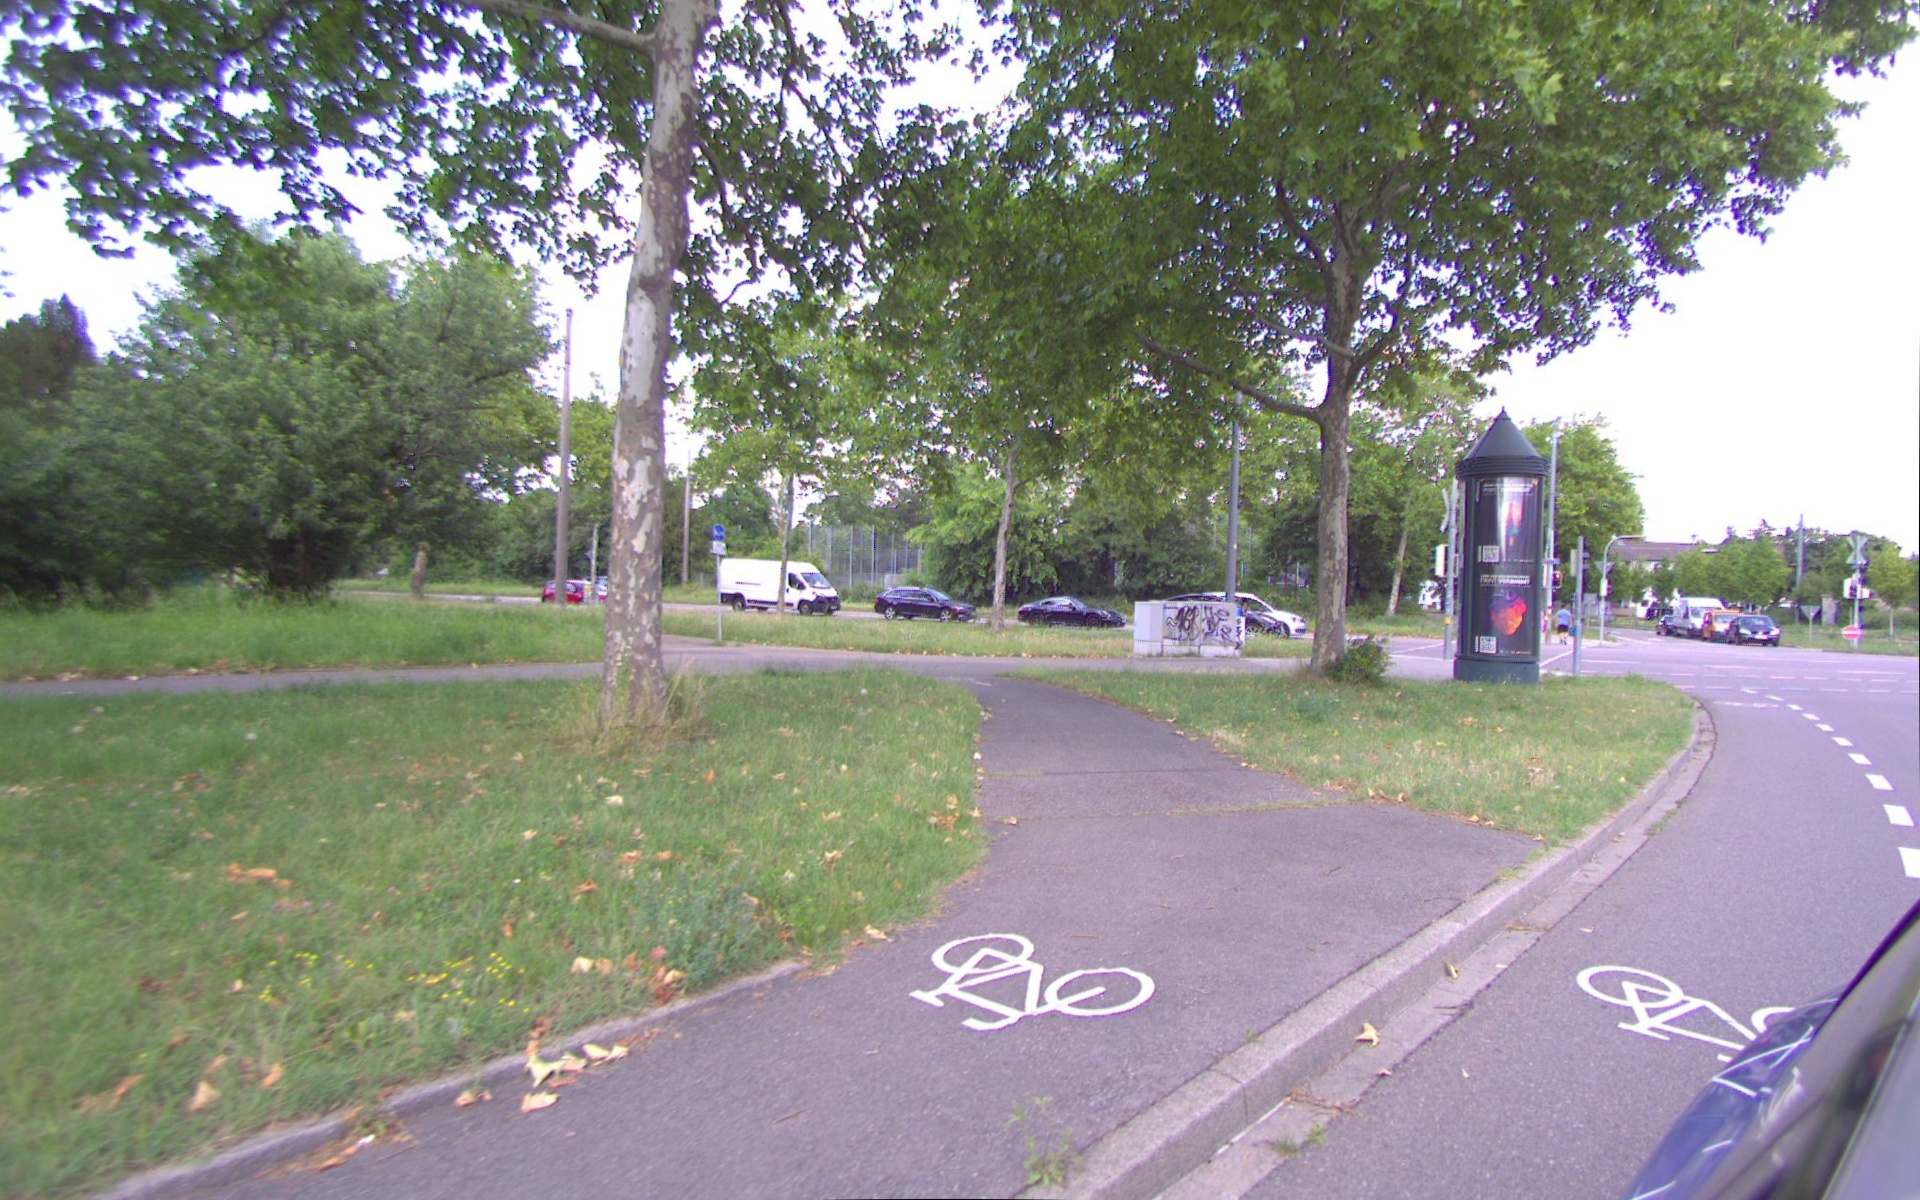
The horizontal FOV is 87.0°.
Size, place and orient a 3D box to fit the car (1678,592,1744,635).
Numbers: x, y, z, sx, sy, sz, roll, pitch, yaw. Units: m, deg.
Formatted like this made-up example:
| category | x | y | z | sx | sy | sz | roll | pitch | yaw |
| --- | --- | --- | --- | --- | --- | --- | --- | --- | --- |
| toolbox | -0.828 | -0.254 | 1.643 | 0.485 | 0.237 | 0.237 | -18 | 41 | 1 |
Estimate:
| category | x | y | z | sx | sy | sz | roll | pitch | yaw |
| --- | --- | --- | --- | --- | --- | --- | --- | --- | --- |
| car | 47.093 | 0.810 | 63.576 | 2.218 | 2.538 | 5.674 | 1 | 0 | 26 |

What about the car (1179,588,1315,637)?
| category | x | y | z | sx | sy | sz | roll | pitch | yaw |
| --- | --- | --- | --- | --- | --- | --- | --- | --- | --- |
| car | 10.827 | 0.411 | 38.174 | 4.640 | 1.630 | 1.982 | 2 | 1 | 26 |

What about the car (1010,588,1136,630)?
| category | x | y | z | sx | sy | sz | roll | pitch | yaw |
| --- | --- | --- | --- | --- | --- | --- | --- | --- | --- |
| car | 4.561 | 0.318 | 40.961 | 4.702 | 1.487 | 1.982 | 2 | 1 | 26 |

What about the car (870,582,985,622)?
| category | x | y | z | sx | sy | sz | roll | pitch | yaw |
| --- | --- | --- | --- | --- | --- | --- | --- | --- | --- |
| car | -1.437 | 0.060 | 44.220 | 4.640 | 1.532 | 1.982 | 2 | 1 | 26 |

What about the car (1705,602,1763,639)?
| category | x | y | z | sx | sy | sz | roll | pitch | yaw |
| --- | --- | --- | --- | --- | --- | --- | --- | --- | --- |
| car | 44.141 | 1.117 | 57.798 | 1.779 | 1.960 | 4.328 | 1 | 0 | 27 |

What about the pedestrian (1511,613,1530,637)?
| category | x | y | z | sx | sy | sz | roll | pitch | yaw |
| --- | --- | --- | --- | --- | --- | --- | --- | --- | --- |
| pedestrian | 25.736 | 1.122 | 46.479 | 0.715 | 1.047 | 0.893 | 2 | 0 | 26 |

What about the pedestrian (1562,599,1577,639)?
| category | x | y | z | sx | sy | sz | roll | pitch | yaw |
| --- | --- | --- | --- | --- | --- | --- | --- | --- | --- |
| pedestrian | 23.903 | 0.741 | 39.718 | 0.415 | 1.527 | 0.447 | 2 | 0 | 25 |

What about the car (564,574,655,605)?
| category | x | y | z | sx | sy | sz | roll | pitch | yaw |
| --- | --- | --- | --- | --- | --- | --- | --- | --- | --- |
| car | -18.846 | -0.577 | 54.367 | 4.640 | 1.532 | 1.982 | 2 | 1 | 26 |

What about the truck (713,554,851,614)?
| category | x | y | z | sx | sy | sz | roll | pitch | yaw |
| --- | --- | --- | --- | --- | --- | --- | --- | --- | --- |
| truck | -8.517 | -0.774 | 48.261 | 6.447 | 2.628 | 2.195 | 2 | 0 | 28 |

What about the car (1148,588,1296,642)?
| category | x | y | z | sx | sy | sz | roll | pitch | yaw |
| --- | --- | --- | --- | --- | --- | --- | --- | --- | --- |
| car | 9.038 | 0.478 | 34.988 | 4.642 | 1.630 | 1.982 | 2 | 1 | 27 |

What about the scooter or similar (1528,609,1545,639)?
| category | x | y | z | sx | sy | sz | roll | pitch | yaw |
| --- | --- | --- | --- | --- | --- | --- | --- | --- | --- |
| scooter or similar | 22.971 | 0.948 | 40.338 | 0.391 | 1.175 | 1.108 | 2 | 0 | 22 |

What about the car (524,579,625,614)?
| category | x | y | z | sx | sy | sz | roll | pitch | yaw |
| --- | --- | --- | --- | --- | --- | --- | --- | --- | --- |
| car | -18.744 | -0.187 | 49.232 | 4.640 | 1.532 | 1.982 | 2 | 1 | 26 |

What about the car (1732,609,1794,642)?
| category | x | y | z | sx | sy | sz | roll | pitch | yaw |
| --- | --- | --- | --- | --- | --- | --- | --- | --- | --- |
| car | 41.480 | 1.269 | 52.368 | 1.779 | 1.558 | 3.961 | 1 | 0 | 27 |

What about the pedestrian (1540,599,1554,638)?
| category | x | y | z | sx | sy | sz | roll | pitch | yaw |
| --- | --- | --- | --- | --- | --- | --- | --- | --- | --- |
| pedestrian | 23.349 | 0.739 | 40.264 | 0.415 | 1.527 | 0.389 | 2 | 0 | 25 |
